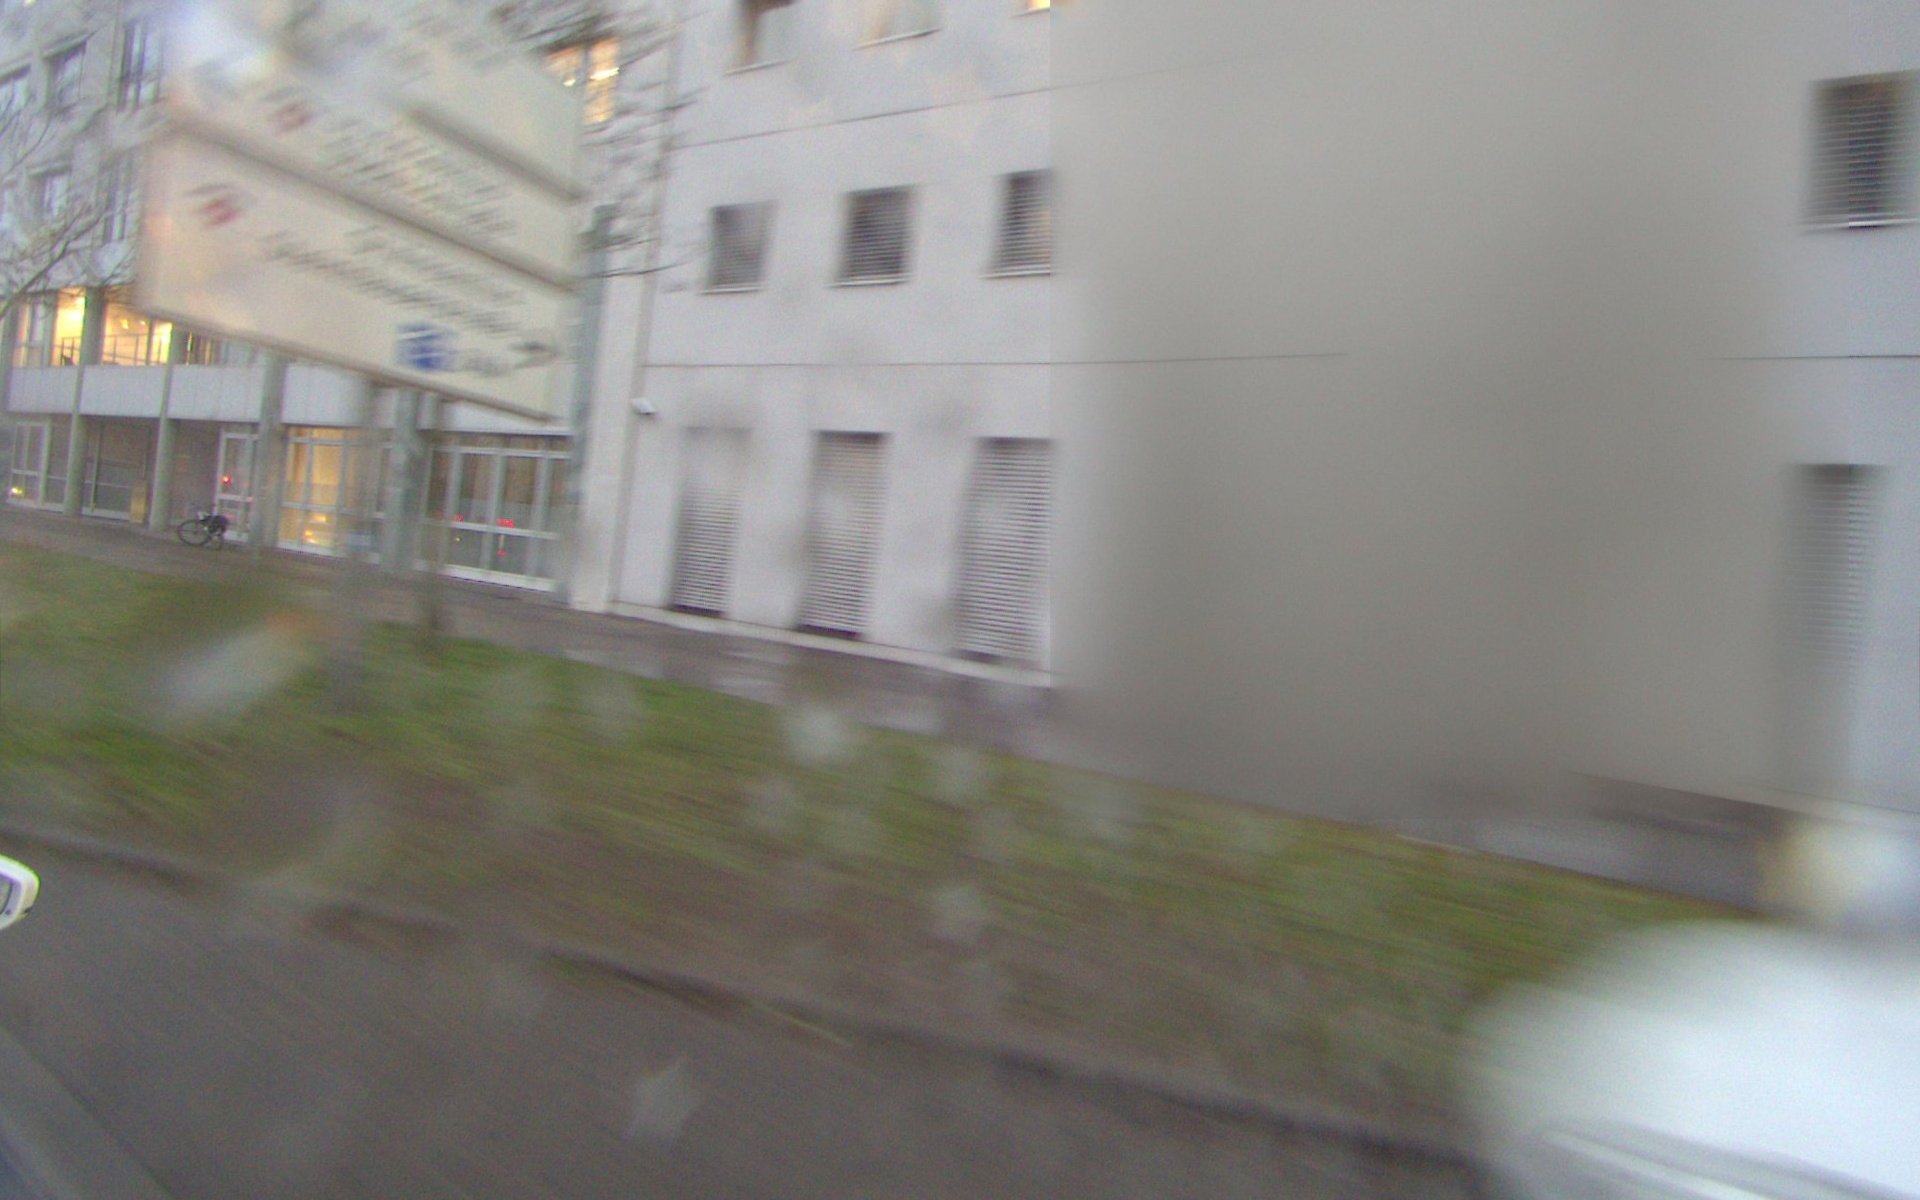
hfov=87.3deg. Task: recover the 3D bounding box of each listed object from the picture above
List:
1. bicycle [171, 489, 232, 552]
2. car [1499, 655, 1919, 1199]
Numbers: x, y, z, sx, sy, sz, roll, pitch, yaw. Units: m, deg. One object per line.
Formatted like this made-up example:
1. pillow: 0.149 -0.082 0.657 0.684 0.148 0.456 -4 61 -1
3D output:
1. bicycle: -17.510 -1.850 23.188 0.819 1.291 2.426 1 5 -44
2. car: 2.645 1.012 1.166 3.427 1.413 1.593 8 2 29
